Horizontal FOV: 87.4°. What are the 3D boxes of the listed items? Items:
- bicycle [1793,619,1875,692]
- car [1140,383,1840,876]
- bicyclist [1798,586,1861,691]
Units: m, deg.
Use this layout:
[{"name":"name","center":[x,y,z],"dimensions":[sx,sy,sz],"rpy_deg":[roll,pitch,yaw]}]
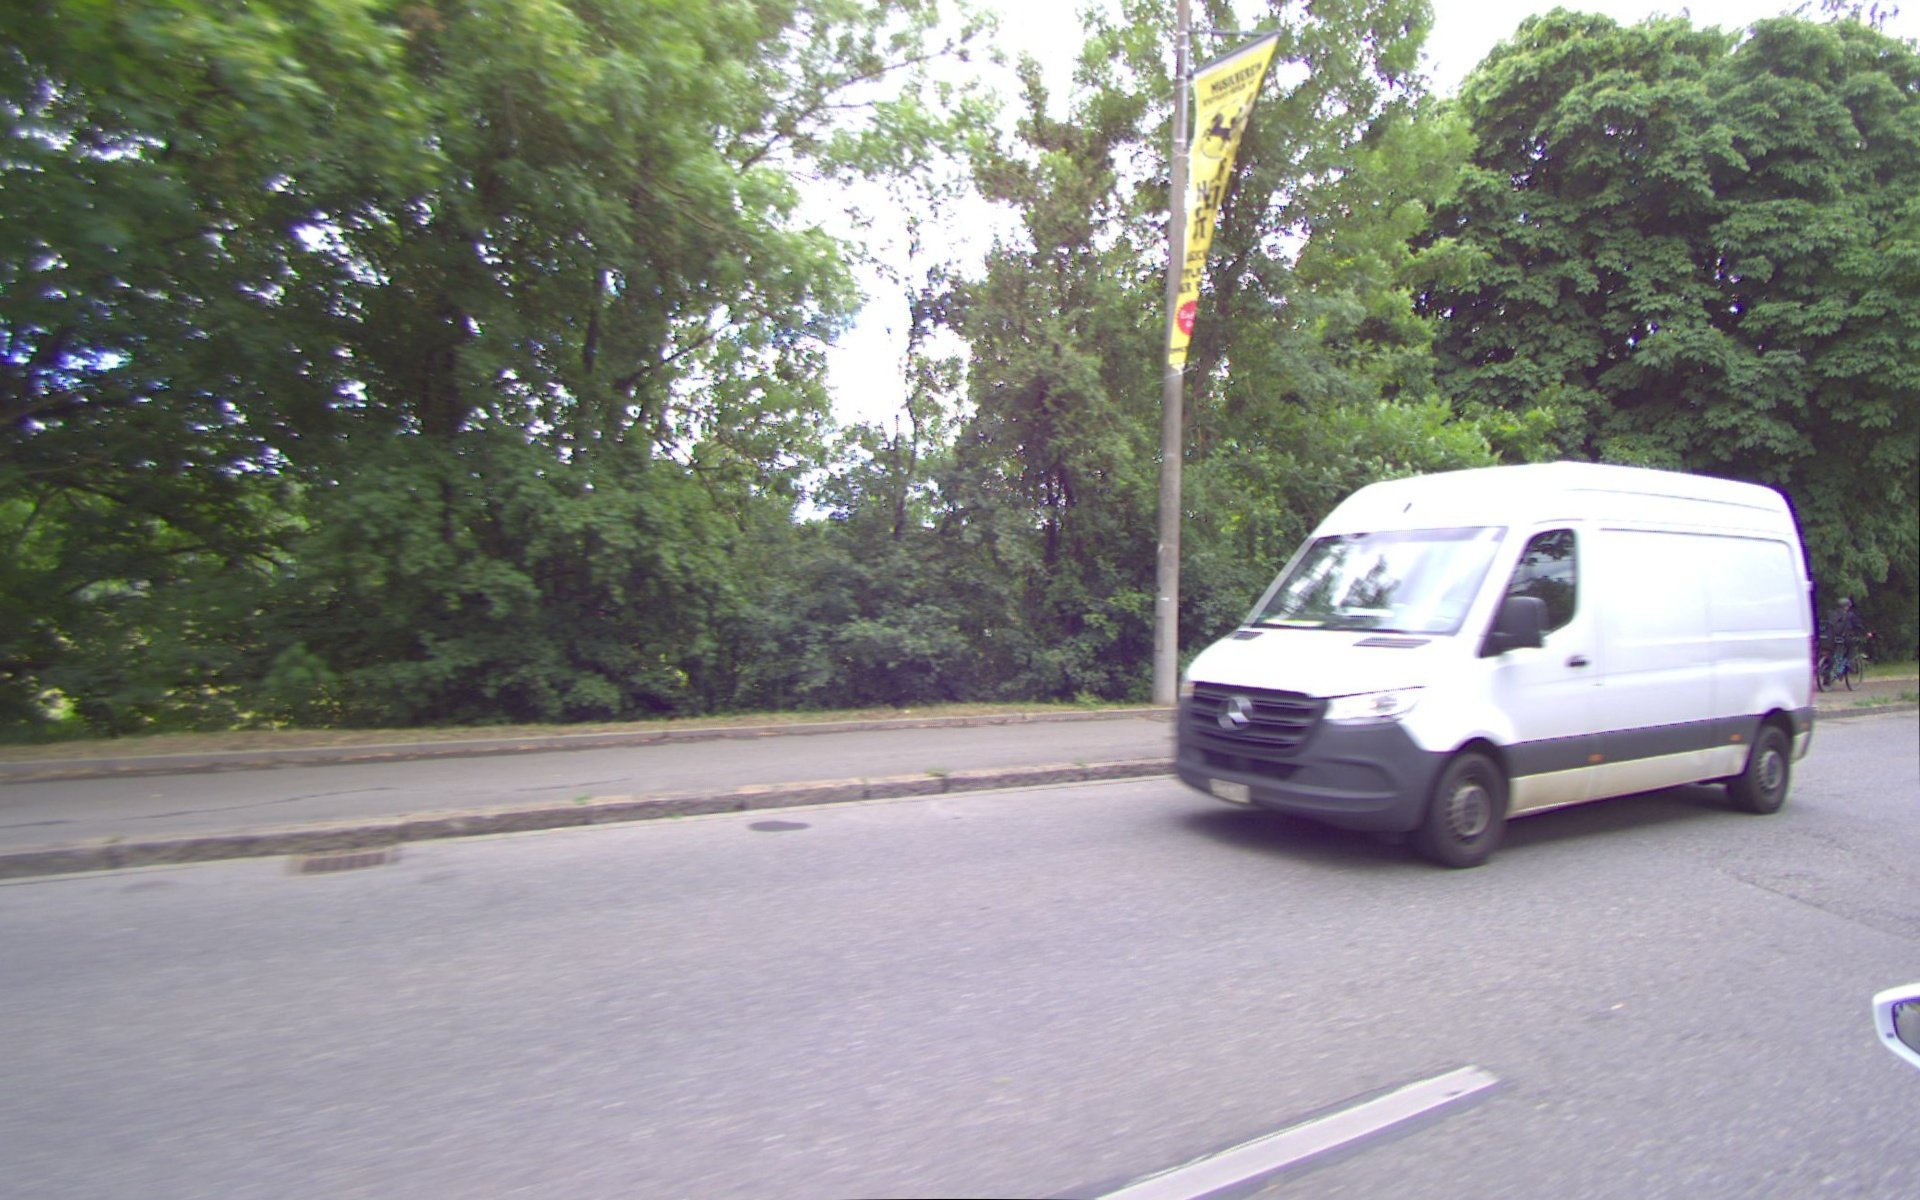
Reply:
[{"name":"bicycle","center":[17.257,1.063,19.821],"dimensions":[2.259,1.349,0.693],"rpy_deg":[1,2,-37]},{"name":"car","center":[4.309,0.205,7.768],"dimensions":[5.825,2.661,1.984],"rpy_deg":[1,0,-30]},{"name":"bicyclist","center":[16.968,0.744,19.600],"dimensions":[0.828,1.974,0.682],"rpy_deg":[1,2,-36]}]
